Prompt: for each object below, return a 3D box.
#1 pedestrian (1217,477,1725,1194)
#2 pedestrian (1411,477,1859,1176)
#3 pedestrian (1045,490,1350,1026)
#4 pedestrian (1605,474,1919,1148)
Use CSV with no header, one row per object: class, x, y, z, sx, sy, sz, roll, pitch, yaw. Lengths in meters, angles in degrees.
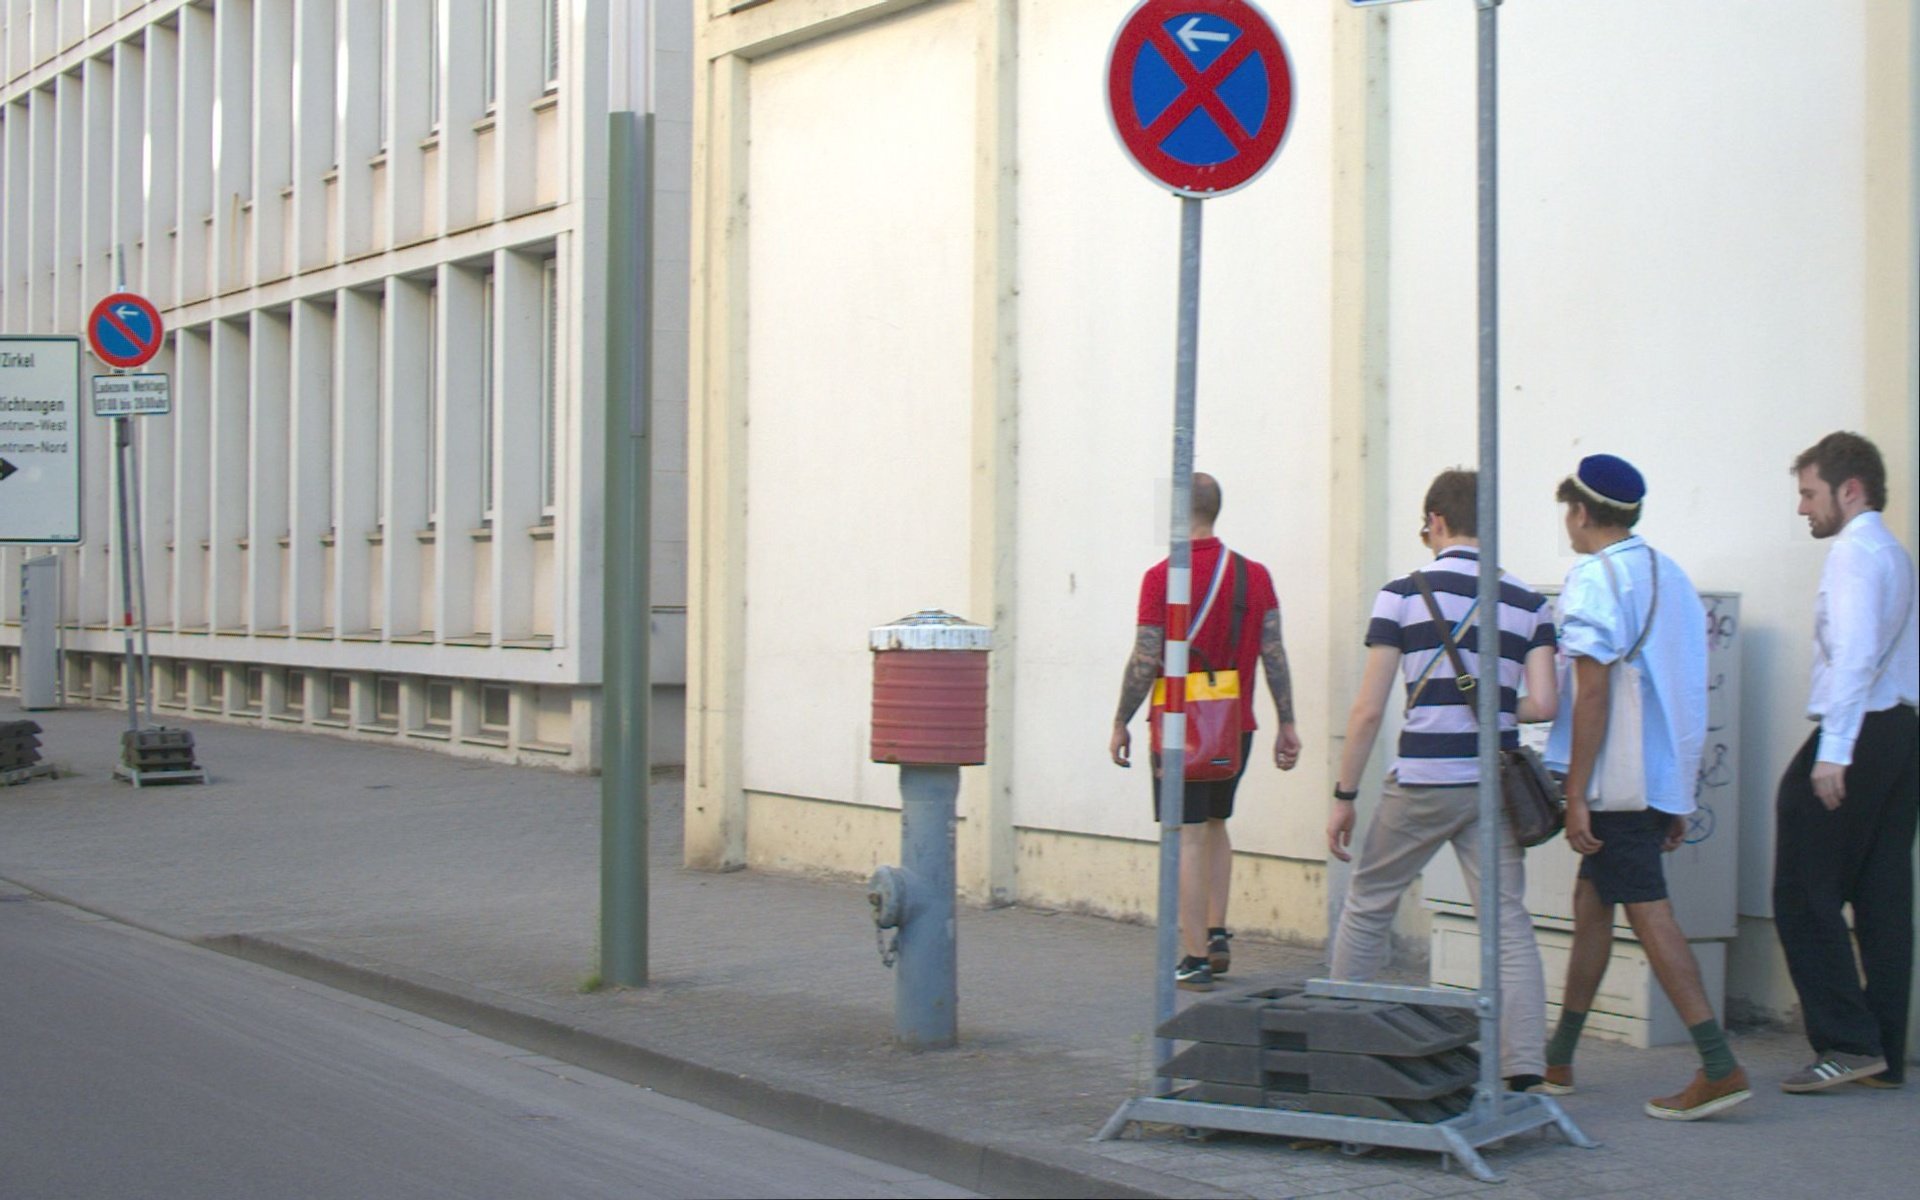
pedestrian,1.370,0.587,9.406,0.714,1.795,1.247,-3,2,-28
pedestrian,1.827,0.572,9.377,0.709,1.771,0.941,-3,2,-28
pedestrian,0.830,0.528,12.139,0.709,1.795,0.775,-3,2,-28
pedestrian,2.420,0.544,9.656,0.709,1.771,0.941,-3,2,-28
